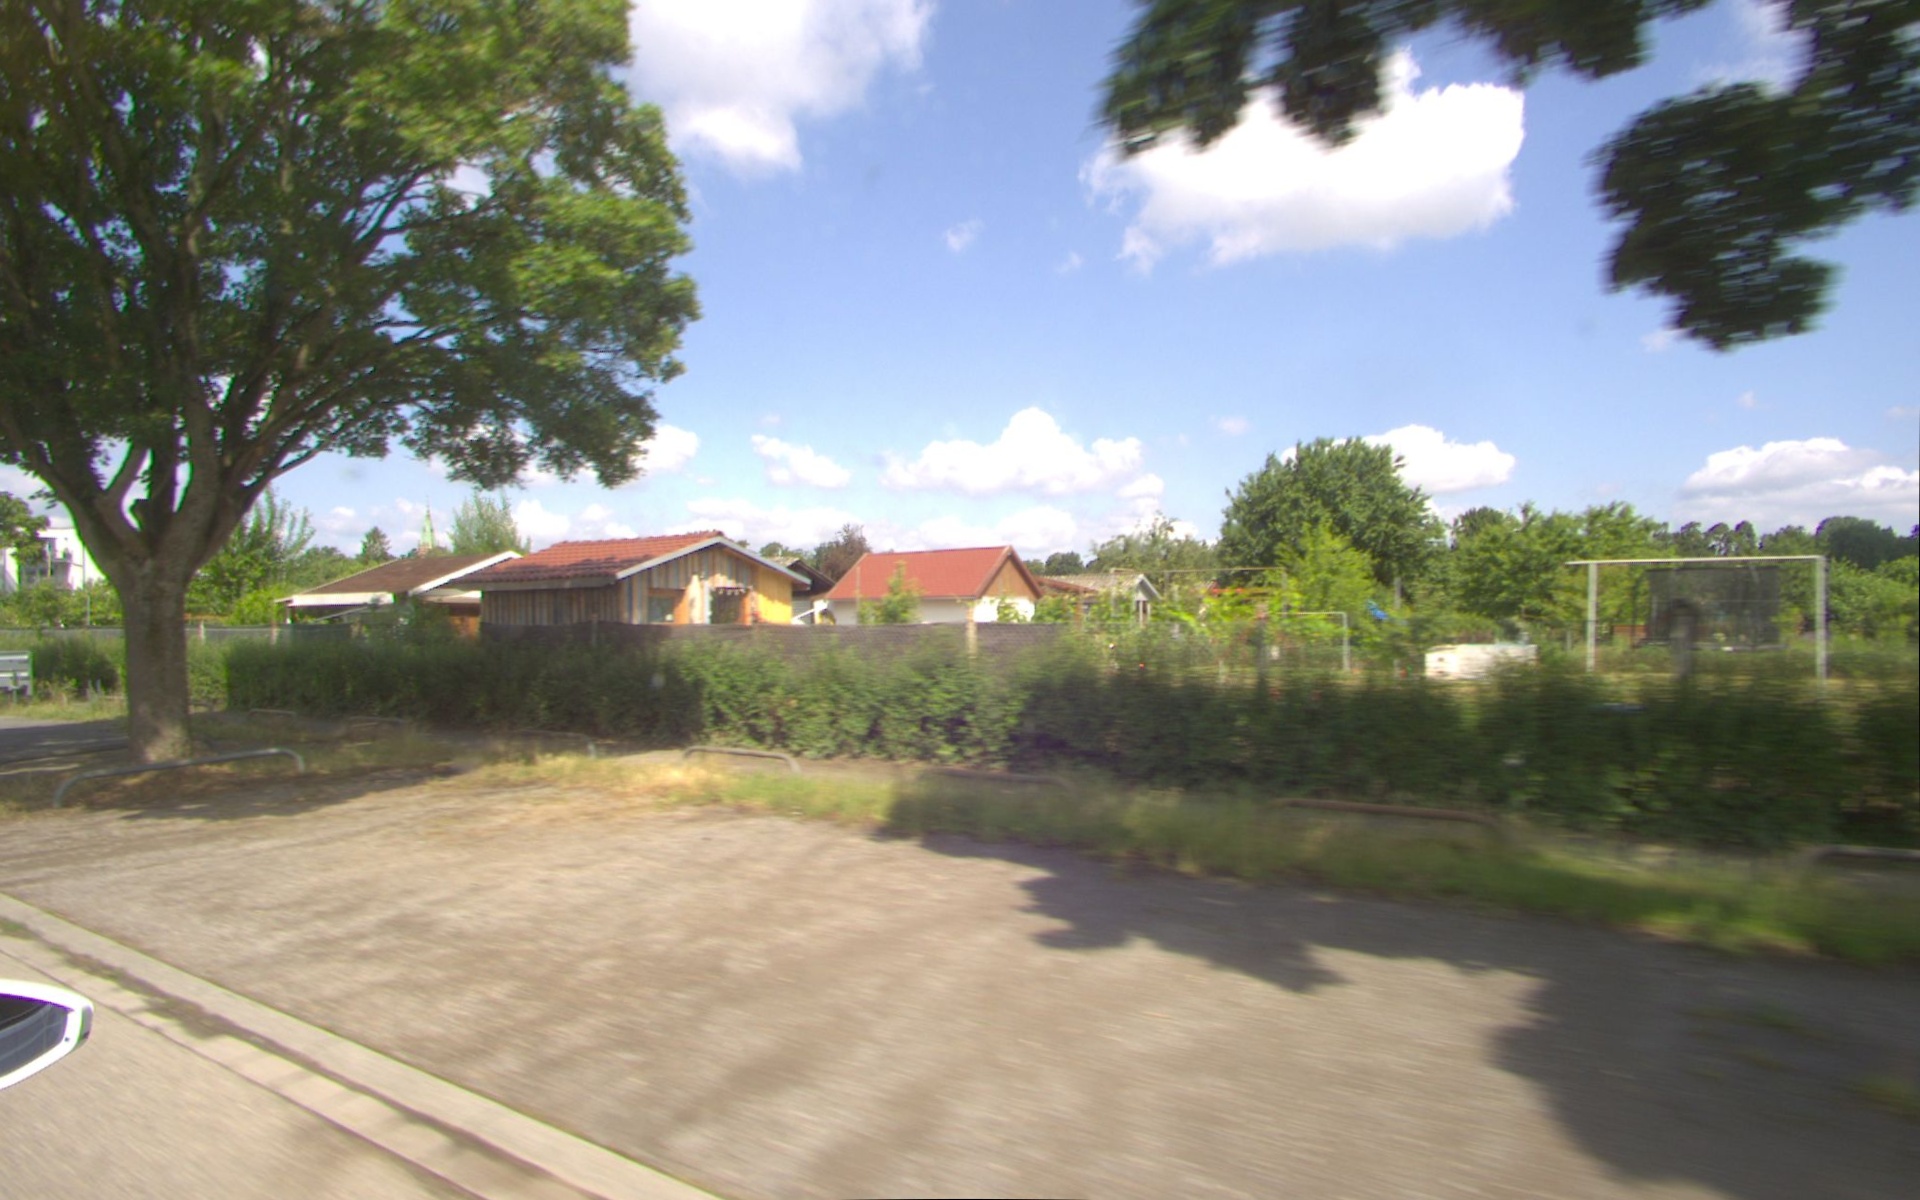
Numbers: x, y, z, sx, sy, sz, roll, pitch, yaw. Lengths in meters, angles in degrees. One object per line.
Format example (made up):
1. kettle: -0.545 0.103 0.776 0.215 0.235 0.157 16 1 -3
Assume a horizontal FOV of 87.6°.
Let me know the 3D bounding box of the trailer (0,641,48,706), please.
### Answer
1. trailer: -18.242 1.293 17.435 1.972 1.157 3.095 -1 -3 32
